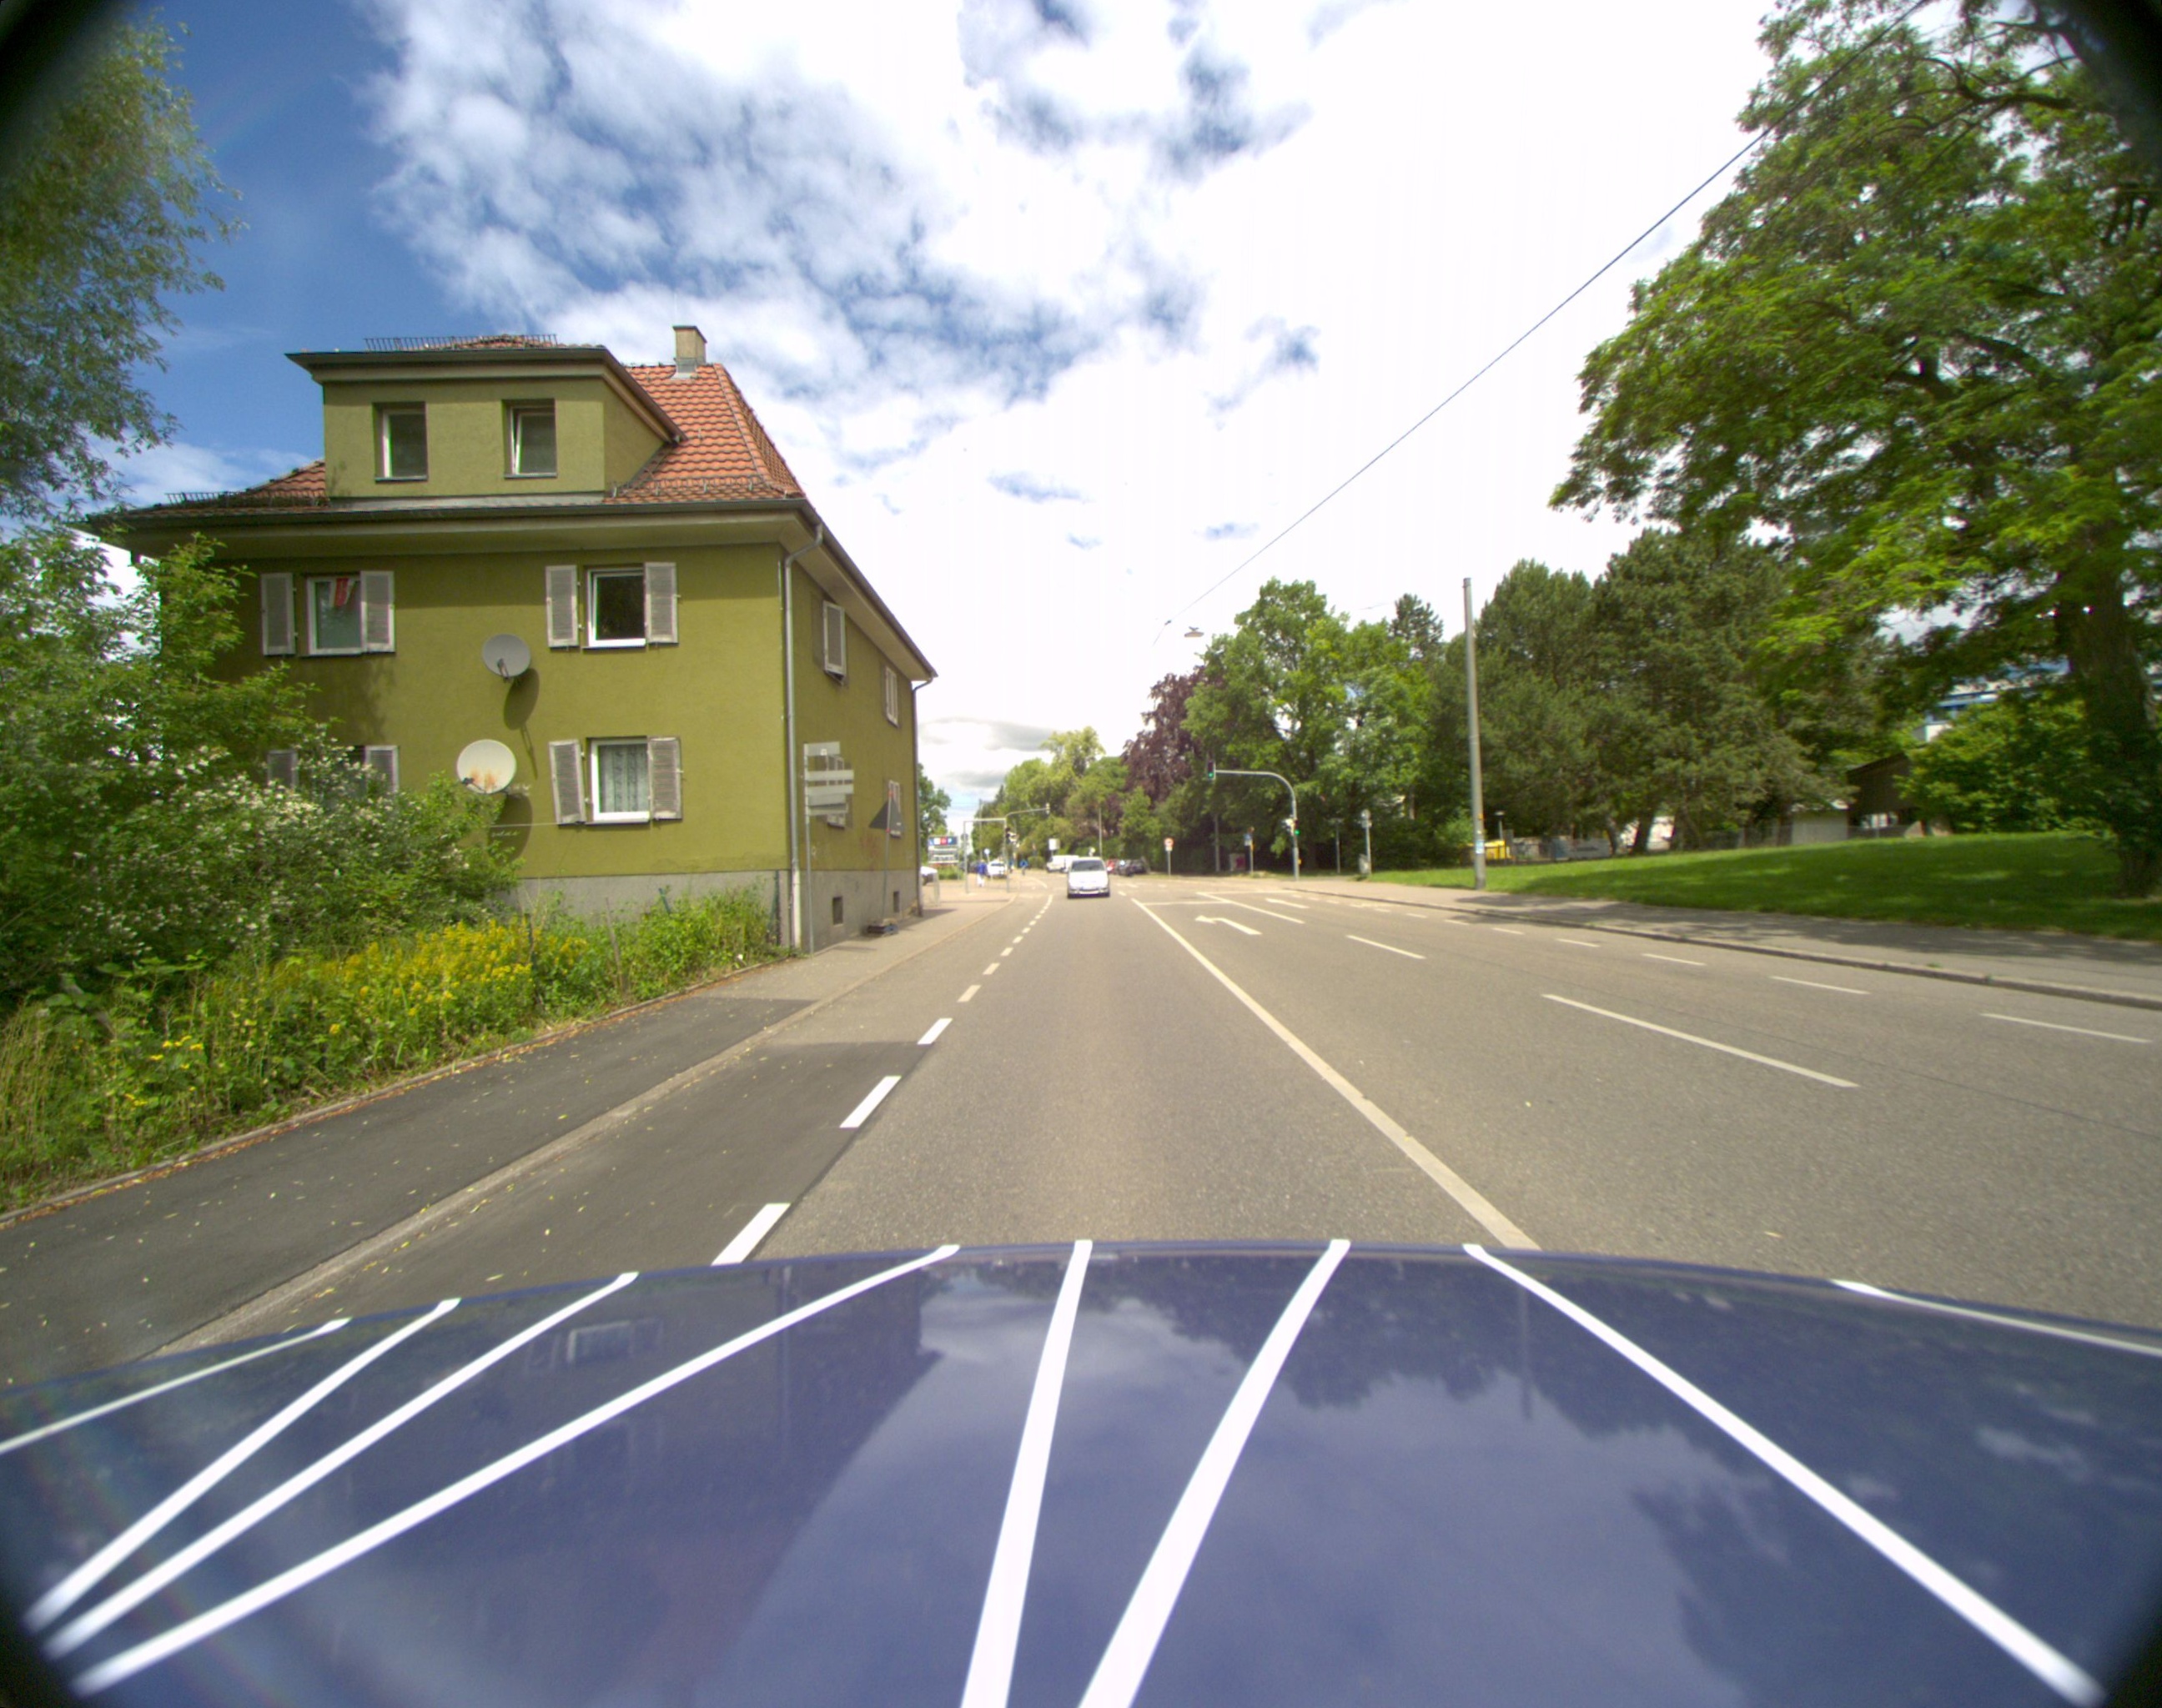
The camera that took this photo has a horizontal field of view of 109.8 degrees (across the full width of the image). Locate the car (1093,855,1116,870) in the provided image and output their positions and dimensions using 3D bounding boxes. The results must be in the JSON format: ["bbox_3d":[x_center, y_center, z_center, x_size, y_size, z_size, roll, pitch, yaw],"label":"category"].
[{"bbox_3d":[2.471,0.912,82.196,1.900,1.501,3.997,0,1,-7],"label":"car"}]

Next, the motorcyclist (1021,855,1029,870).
[{"bbox_3d":[-6.005,0.893,81.540,0.837,1.547,0.650,0,1,-1],"label":"motorcyclist"}]

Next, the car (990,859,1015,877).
[{"bbox_3d":[-7.094,1.243,69.061,1.799,1.501,3.999,-1,0,-1],"label":"car"}]

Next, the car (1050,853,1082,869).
[{"bbox_3d":[-1.697,0.742,85.181,1.803,1.787,4.493,-1,1,-27],"label":"car"}]

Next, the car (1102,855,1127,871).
[{"bbox_3d":[3.349,0.934,77.212,1.900,1.501,3.997,0,1,-7],"label":"car"}]

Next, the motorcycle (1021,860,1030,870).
[{"bbox_3d":[-5.993,1.183,81.573,0.837,1.101,1.800,0,0,-1],"label":"motorcycle"}]

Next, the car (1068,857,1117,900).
[{"bbox_3d":[0.432,0.922,29.973,1.780,1.519,4.000,-2,0,0],"label":"car"}]

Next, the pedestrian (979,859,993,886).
[{"bbox_3d":[-5.596,1.058,44.630,0.729,1.543,1.056,-2,0,-10],"label":"pedestrian"}]

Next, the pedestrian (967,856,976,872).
[{"bbox_3d":[-12.132,1.106,84.246,0.723,1.651,0.777,-4,1,-4],"label":"pedestrian"}]

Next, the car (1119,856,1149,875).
[{"bbox_3d":[4.687,0.992,67.530,1.900,1.501,3.997,0,1,-7],"label":"car"}]

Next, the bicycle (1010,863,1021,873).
[{"bbox_3d":[-8.213,1.769,95.345,0.815,1.101,1.796,-4,0,-26],"label":"bicycle"}]

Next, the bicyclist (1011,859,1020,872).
[{"bbox_3d":[-8.225,1.413,95.321,0.808,1.599,0.770,-4,1,-26],"label":"bicyclist"}]

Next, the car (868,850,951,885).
[{"bbox_3d":[-10.174,0.784,45.212,4.364,1.983,2.001,-1,1,9],"label":"car"}]
